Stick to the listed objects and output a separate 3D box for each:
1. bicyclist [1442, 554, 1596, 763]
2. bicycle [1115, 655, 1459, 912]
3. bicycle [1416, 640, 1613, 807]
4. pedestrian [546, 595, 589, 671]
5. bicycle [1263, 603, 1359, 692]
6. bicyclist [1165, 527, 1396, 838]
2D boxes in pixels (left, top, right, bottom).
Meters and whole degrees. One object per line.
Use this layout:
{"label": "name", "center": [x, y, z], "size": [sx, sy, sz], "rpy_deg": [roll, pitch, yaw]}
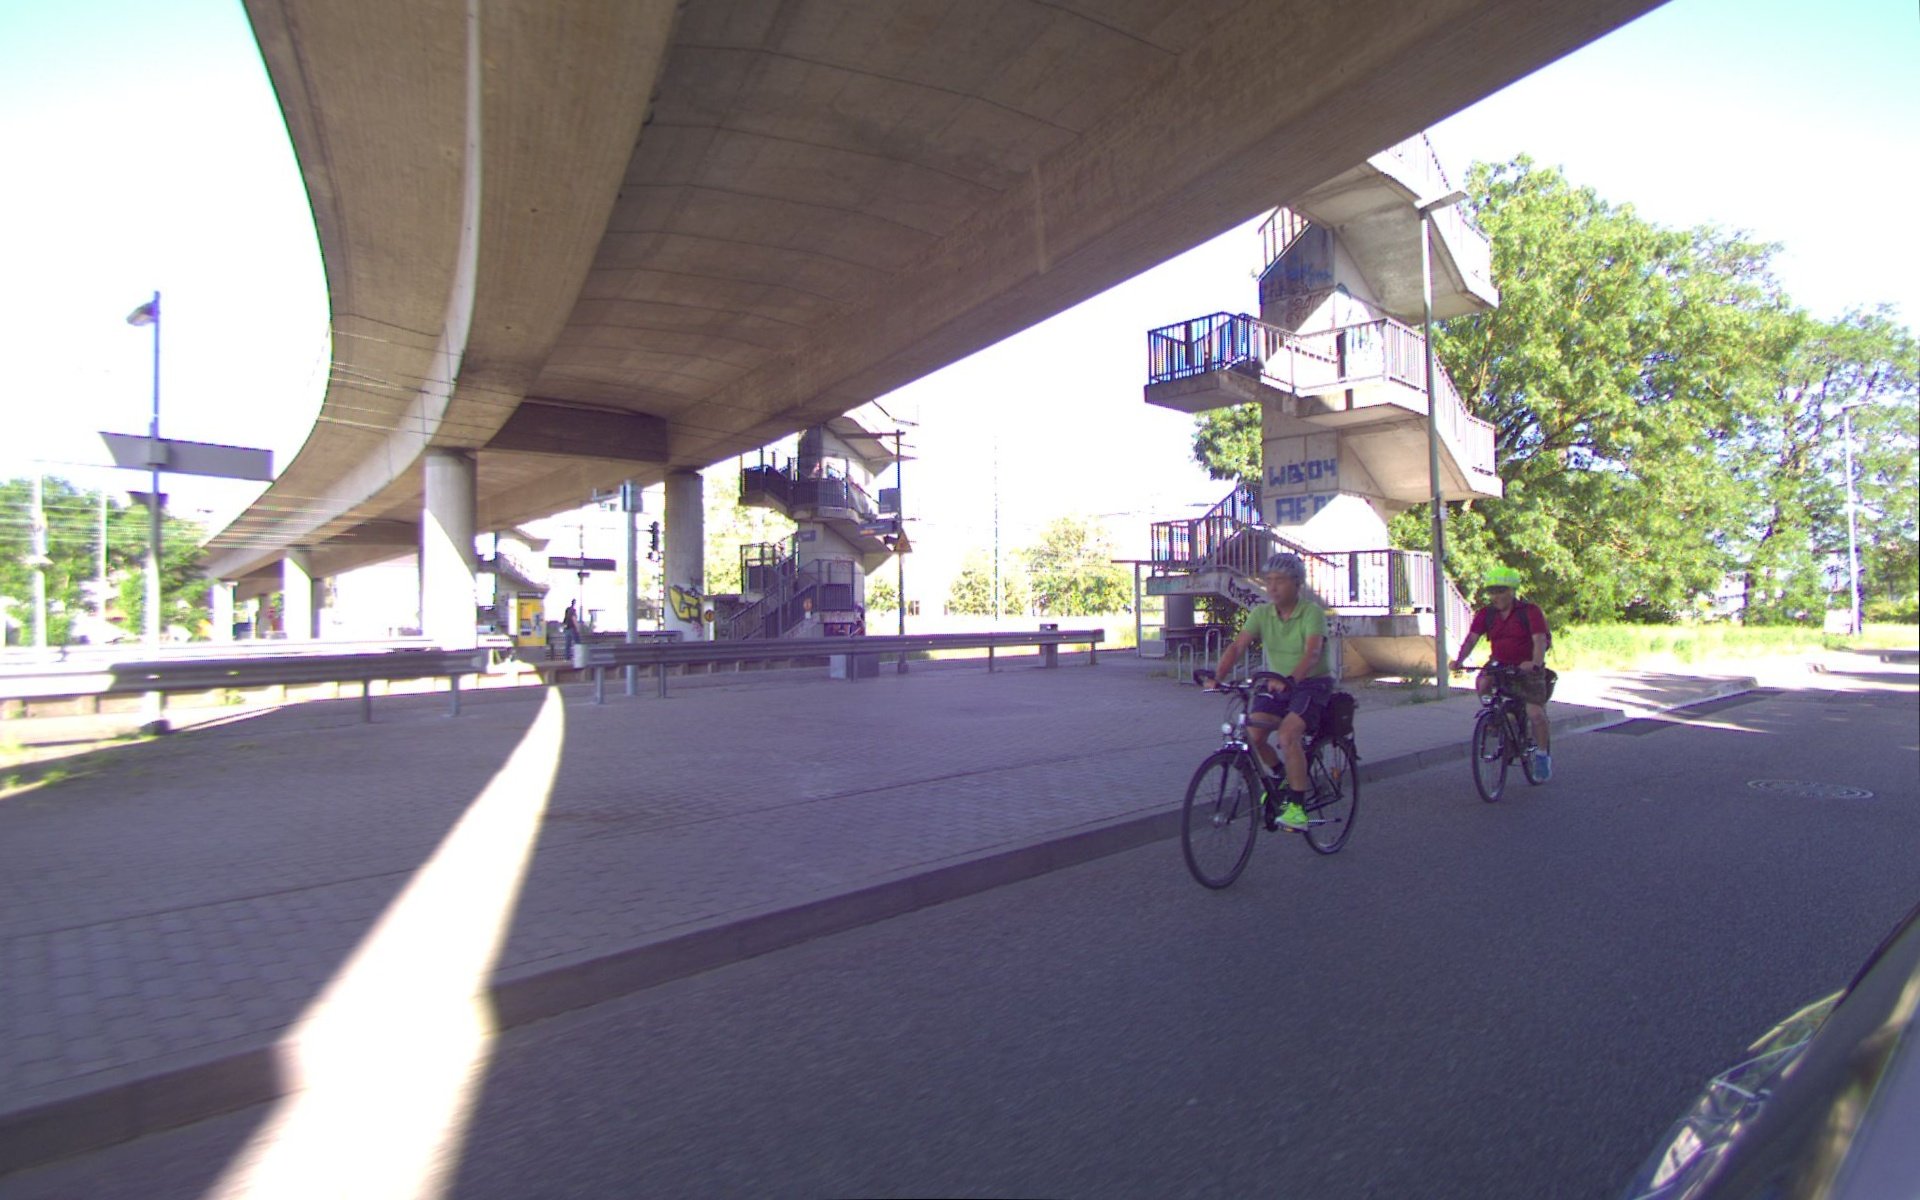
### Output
{"label": "bicyclist", "center": [4.383, 0.427, 7.934], "size": [0.840, 1.507, 0.909], "rpy_deg": [-1, -1, 43]}
{"label": "bicycle", "center": [1.886, 0.887, 5.631], "size": [2.152, 1.065, 0.842], "rpy_deg": [0, -1, -42]}
{"label": "bicycle", "center": [4.391, 0.877, 7.930], "size": [0.840, 1.065, 2.155], "rpy_deg": [-1, -1, 43]}
{"label": "pedestrian", "center": [-10.806, 0.890, 27.861], "size": [0.892, 2.039, 0.823], "rpy_deg": [-2, -2, 43]}
{"label": "bicycle", "center": [5.142, 0.652, 14.732], "size": [0.596, 1.197, 2.150], "rpy_deg": [-1, -1, 40]}
{"label": "bicyclist", "center": [1.748, 0.404, 5.525], "size": [0.907, 1.507, 0.842], "rpy_deg": [0, -1, -41]}
